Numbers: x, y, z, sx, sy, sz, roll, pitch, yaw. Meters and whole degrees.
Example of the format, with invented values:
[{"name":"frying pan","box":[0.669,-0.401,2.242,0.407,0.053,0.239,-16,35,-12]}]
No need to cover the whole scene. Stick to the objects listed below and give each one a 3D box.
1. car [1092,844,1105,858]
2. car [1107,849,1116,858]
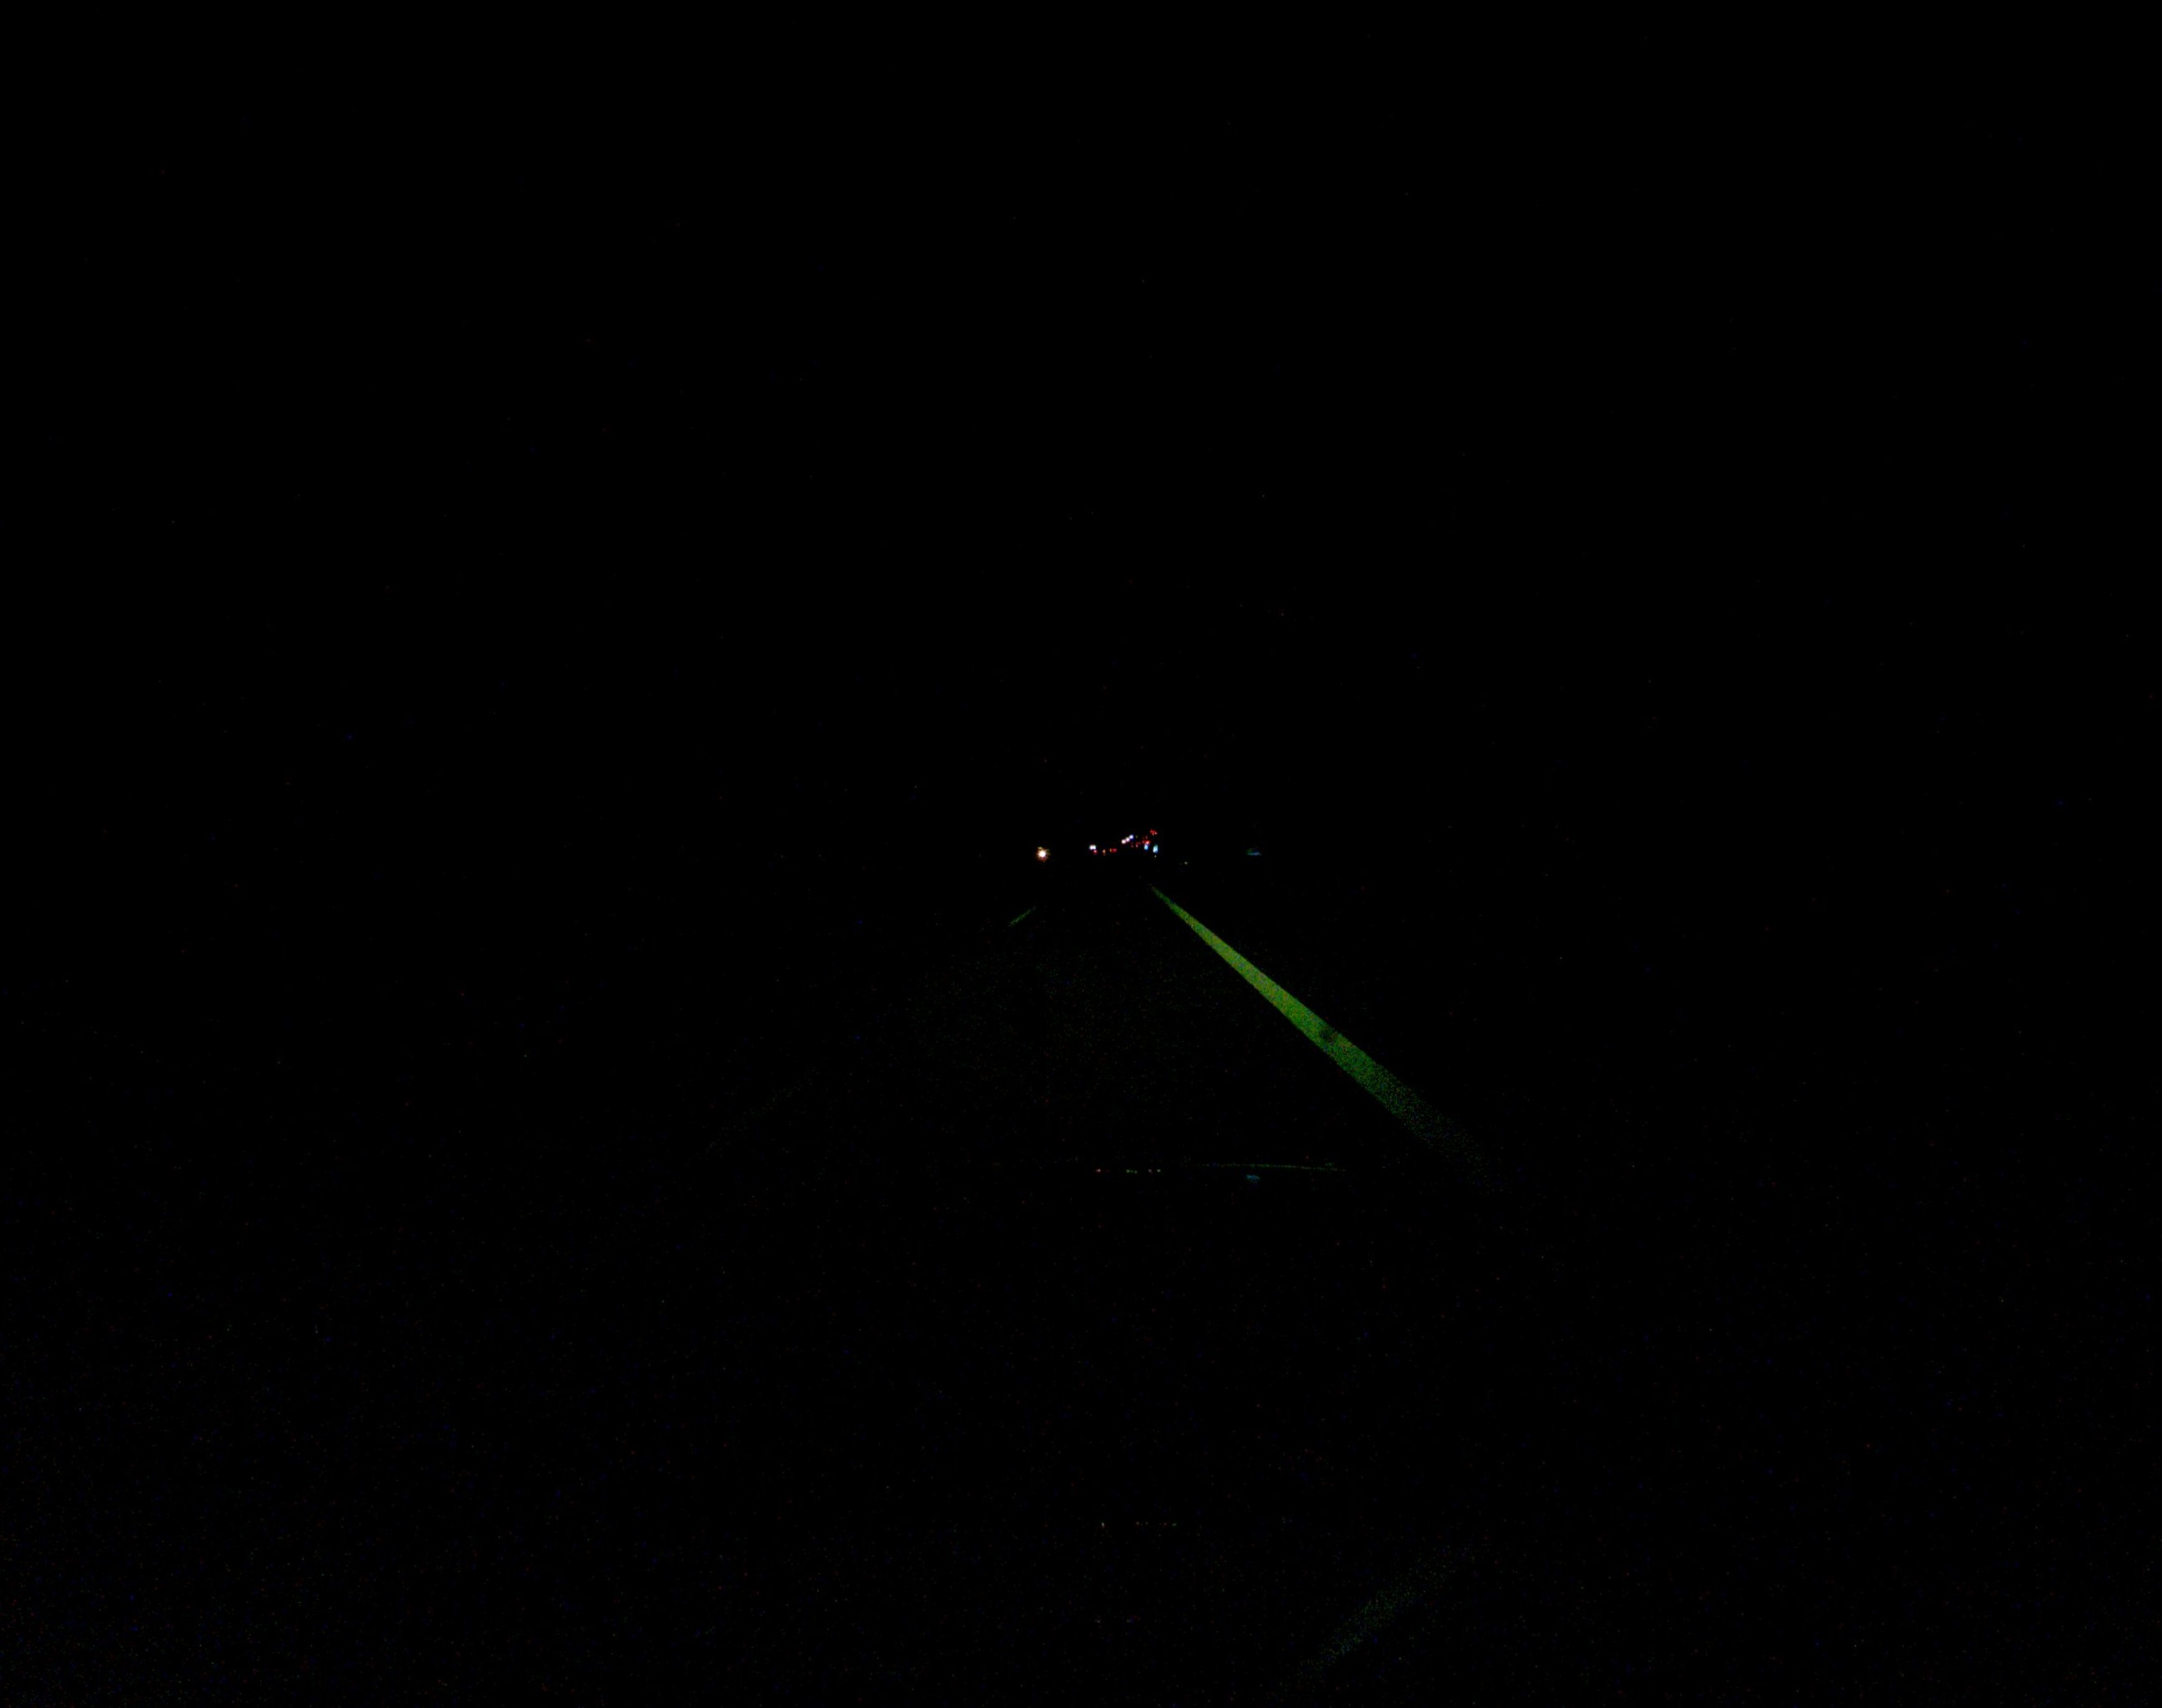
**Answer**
[{"name":"car","box":[3.694,-0.581,171.463,2.776,2.733,6.301,-1,0,2]},{"name":"car","box":[9.992,-0.199,263.673,2.775,2.733,6.304,-1,0,3]}]
